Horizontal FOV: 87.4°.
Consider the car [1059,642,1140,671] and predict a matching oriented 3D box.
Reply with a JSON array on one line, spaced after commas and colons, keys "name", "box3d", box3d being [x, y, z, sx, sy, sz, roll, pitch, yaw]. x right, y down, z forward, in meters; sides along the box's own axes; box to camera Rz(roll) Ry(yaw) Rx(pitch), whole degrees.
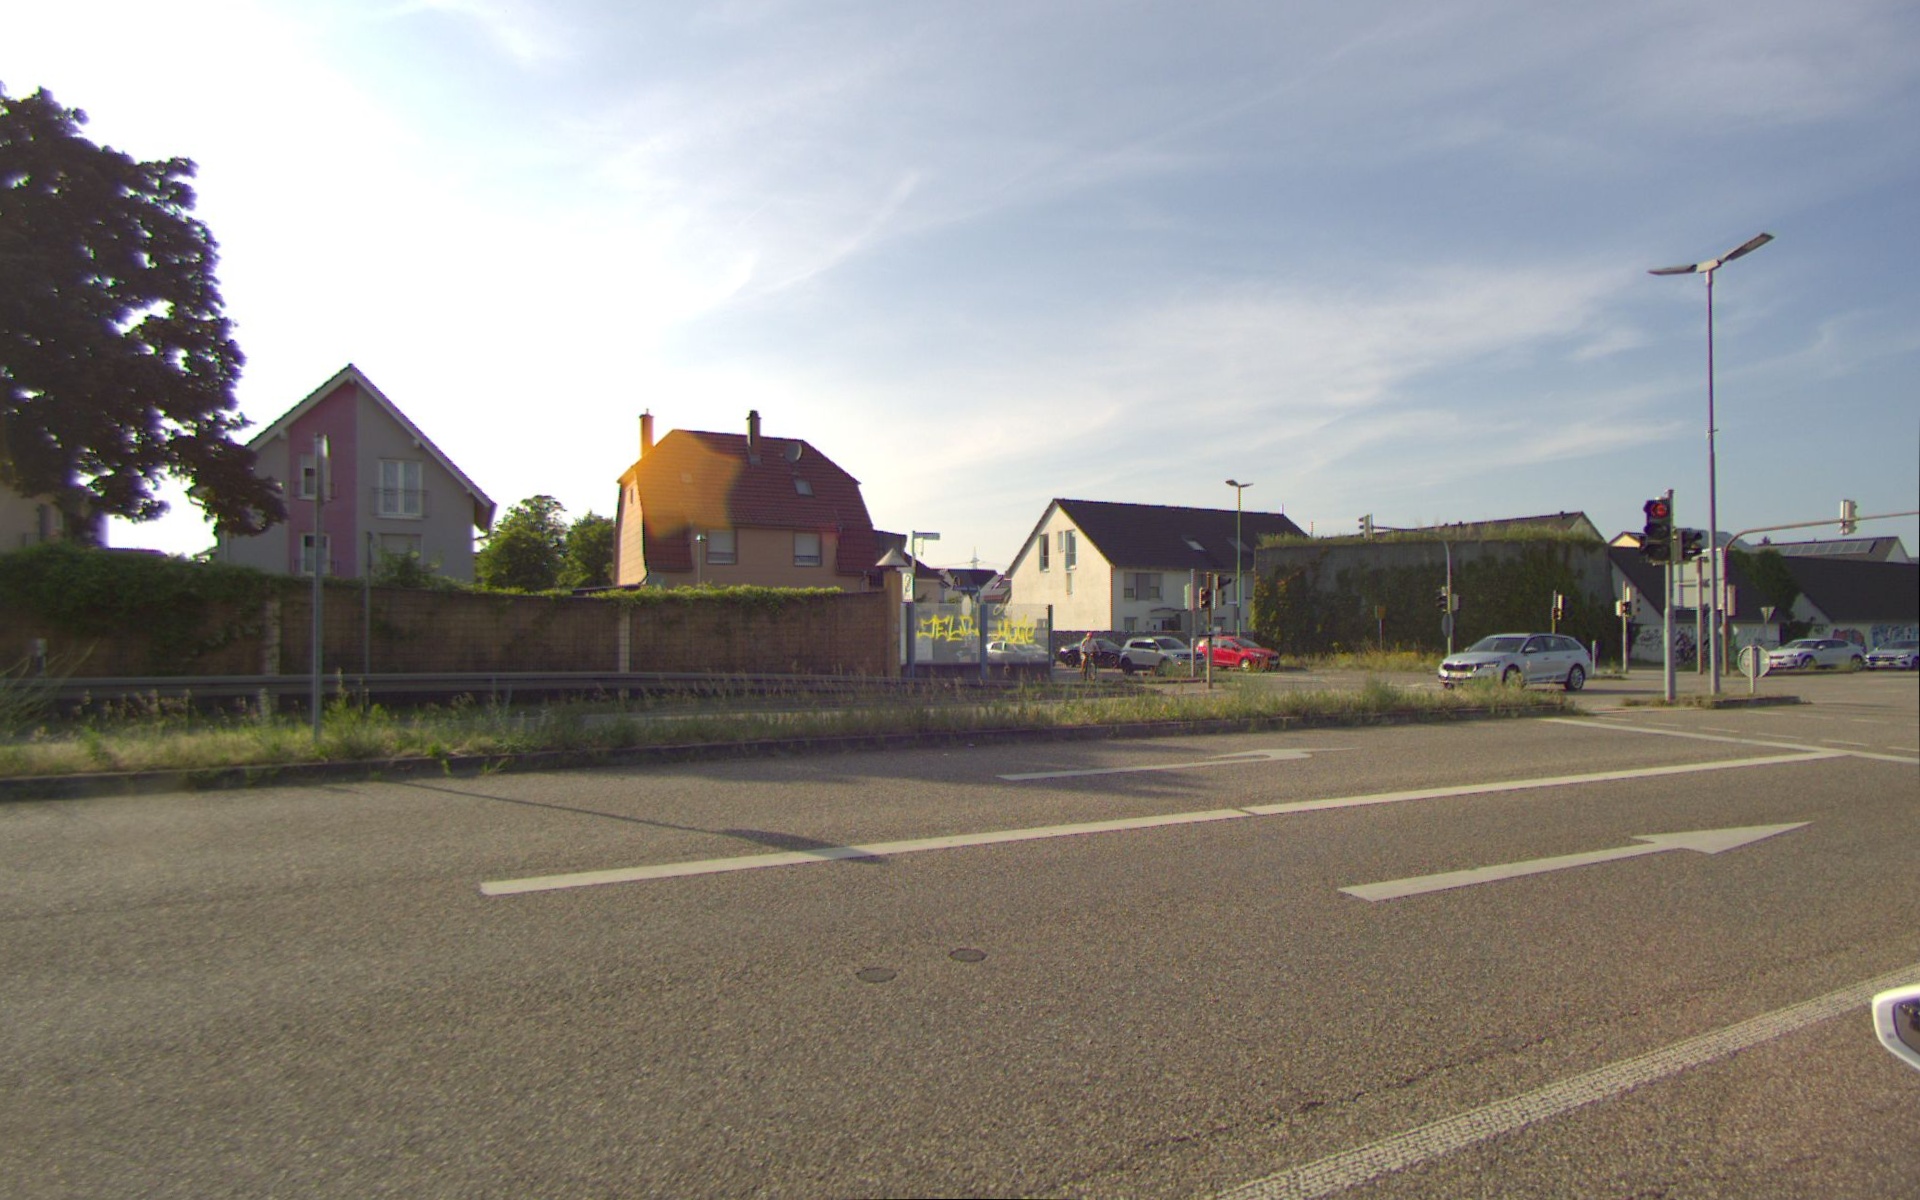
[{"name": "car", "box3d": [6.761, 2.722, 48.976, 3.562, 1.193, 1.747, 1, 0, 43]}]

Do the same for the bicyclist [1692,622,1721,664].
[{"name": "bicyclist", "box3d": [37.498, 2.170, 50.450, 1.049, 2.040, 0.767, 2, 0, -28]}]

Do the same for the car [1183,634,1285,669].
[{"name": "car", "box3d": [11.851, 2.253, 43.661, 1.624, 1.431, 4.267, 1, -4, -33]}]

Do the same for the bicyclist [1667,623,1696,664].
[{"name": "bicyclist", "box3d": [36.915, 2.241, 51.383, 1.049, 2.040, 0.767, 2, 0, -28]}]

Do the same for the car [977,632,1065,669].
[{"name": "car", "box3d": [2.919, 2.400, 48.424, 3.942, 1.585, 1.816, 2, 0, 42]}]

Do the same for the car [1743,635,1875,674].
[{"name": "car", "box3d": [37.573, 2.410, 44.498, 4.676, 1.517, 1.952, 2, 0, -10]}]

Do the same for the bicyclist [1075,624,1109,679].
[{"name": "bicyclist", "box3d": [4.492, 1.764, 34.203, 0.834, 1.810, 0.854, 2, -4, -19]}]

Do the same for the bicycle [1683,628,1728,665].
[{"name": "bicycle", "box3d": [37.430, 2.344, 50.431, 2.574, 1.772, 0.750, 2, 0, -28]}]

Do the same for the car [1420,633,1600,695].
[{"name": "car", "box3d": [14.262, 1.639, 26.026, 4.673, 1.481, 1.748, 2, -3, -27]}]

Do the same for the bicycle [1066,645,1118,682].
[{"name": "bicycle", "box3d": [4.486, 2.150, 34.300, 0.889, 1.207, 2.154, 2, -2, -18]}]

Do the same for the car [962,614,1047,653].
[{"name": "car", "box3d": [2.330, 1.746, 53.175, 4.122, 1.840, 1.989, 2, 0, 42]}]

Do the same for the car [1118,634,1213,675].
[{"name": "car", "box3d": [8.308, 2.240, 40.887, 1.735, 1.583, 3.975, 2, -4, -26]}]

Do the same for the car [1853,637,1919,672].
[{"name": "car", "box3d": [43.874, 2.551, 46.649, 4.471, 1.516, 1.700, 2, -5, -22]}]

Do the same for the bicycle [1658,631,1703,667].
[{"name": "bicycle", "box3d": [36.890, 2.510, 51.399, 2.574, 1.772, 0.750, 2, 0, -28]}]
